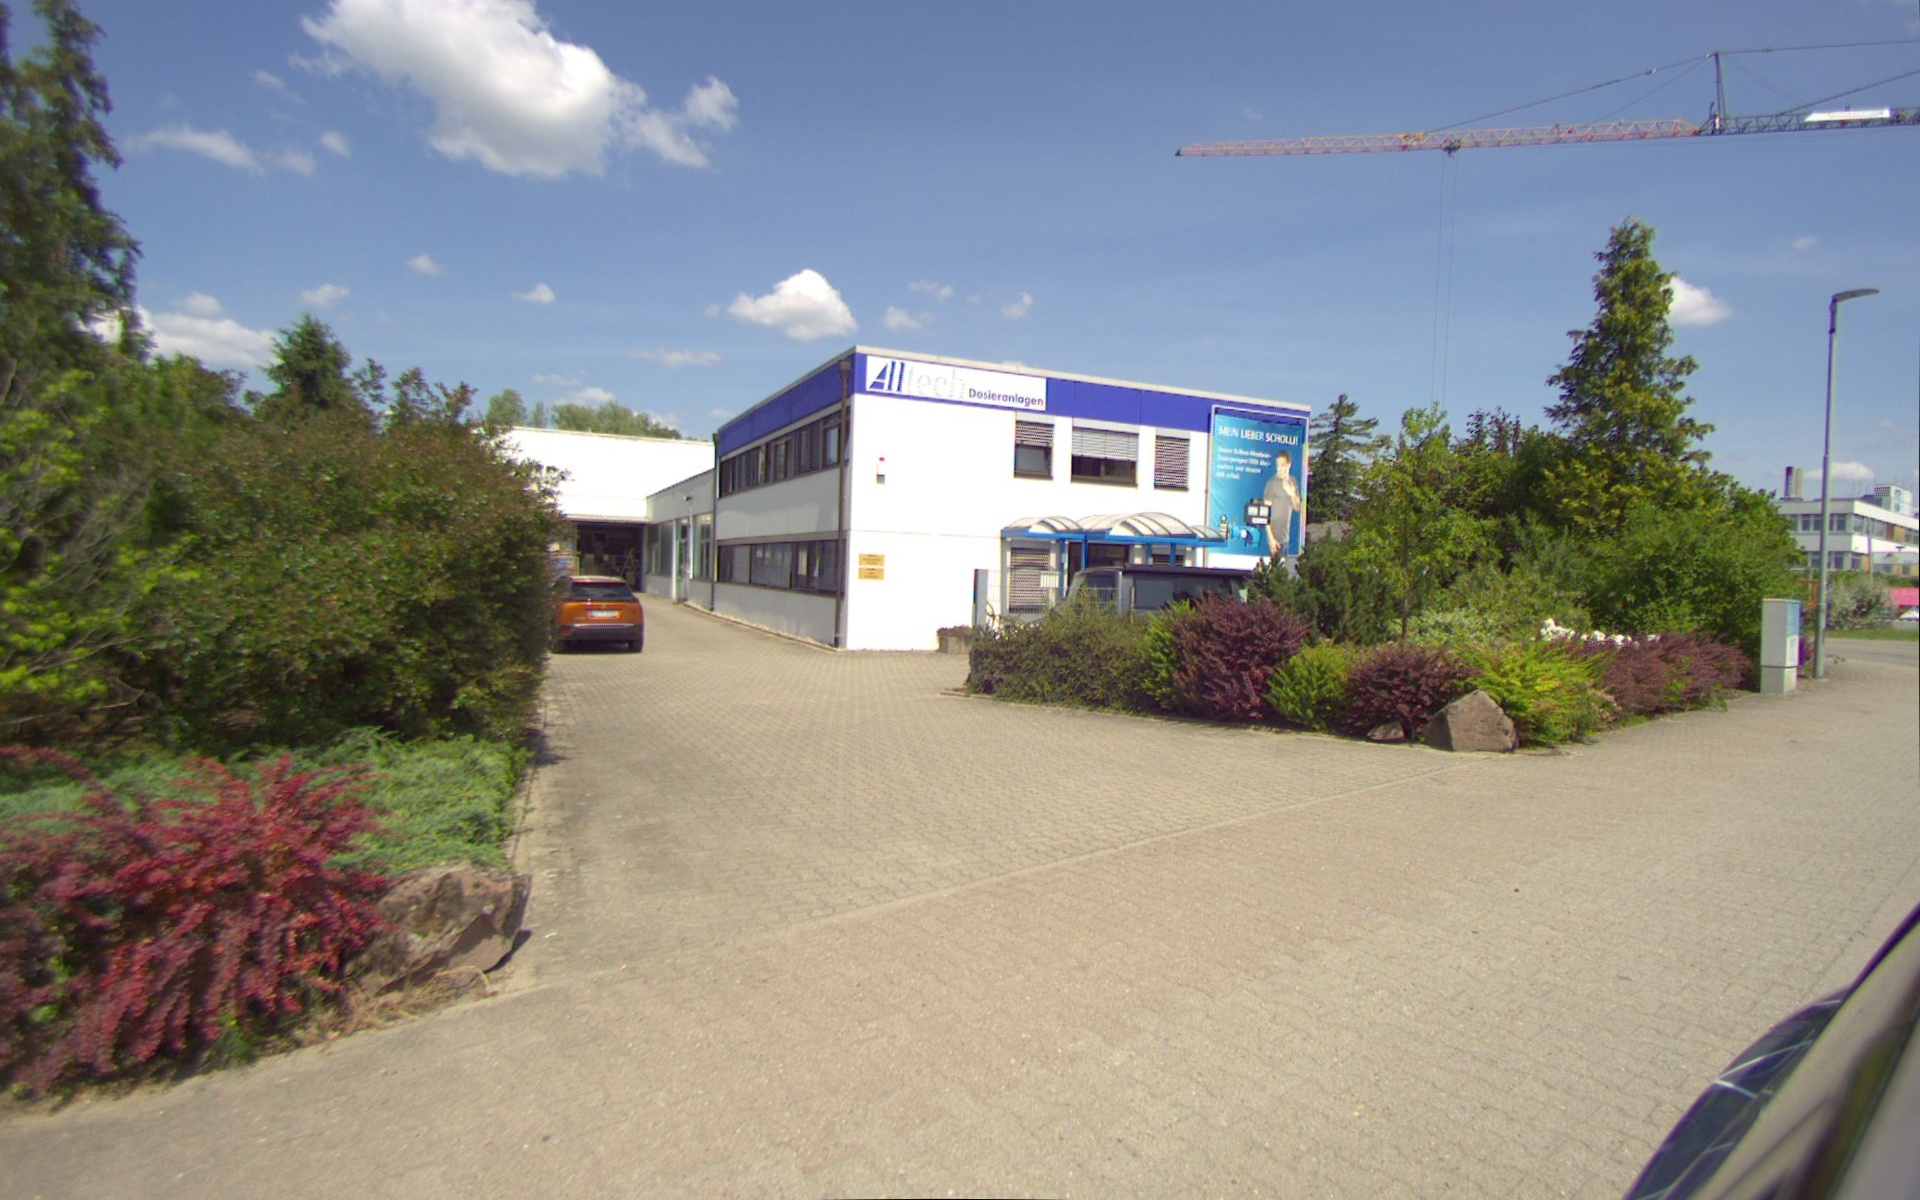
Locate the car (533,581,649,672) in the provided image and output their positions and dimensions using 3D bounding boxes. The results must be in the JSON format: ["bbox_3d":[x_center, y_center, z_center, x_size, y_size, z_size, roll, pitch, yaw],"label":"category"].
[{"bbox_3d":[-7.877,0.479,21.373,1.806,1.681,4.053,0,1,-27],"label":"car"}]

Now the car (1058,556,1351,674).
[{"bbox_3d":[4.256,0.159,17.627,4.691,1.819,1.909,-1,4,-22],"label":"car"}]
